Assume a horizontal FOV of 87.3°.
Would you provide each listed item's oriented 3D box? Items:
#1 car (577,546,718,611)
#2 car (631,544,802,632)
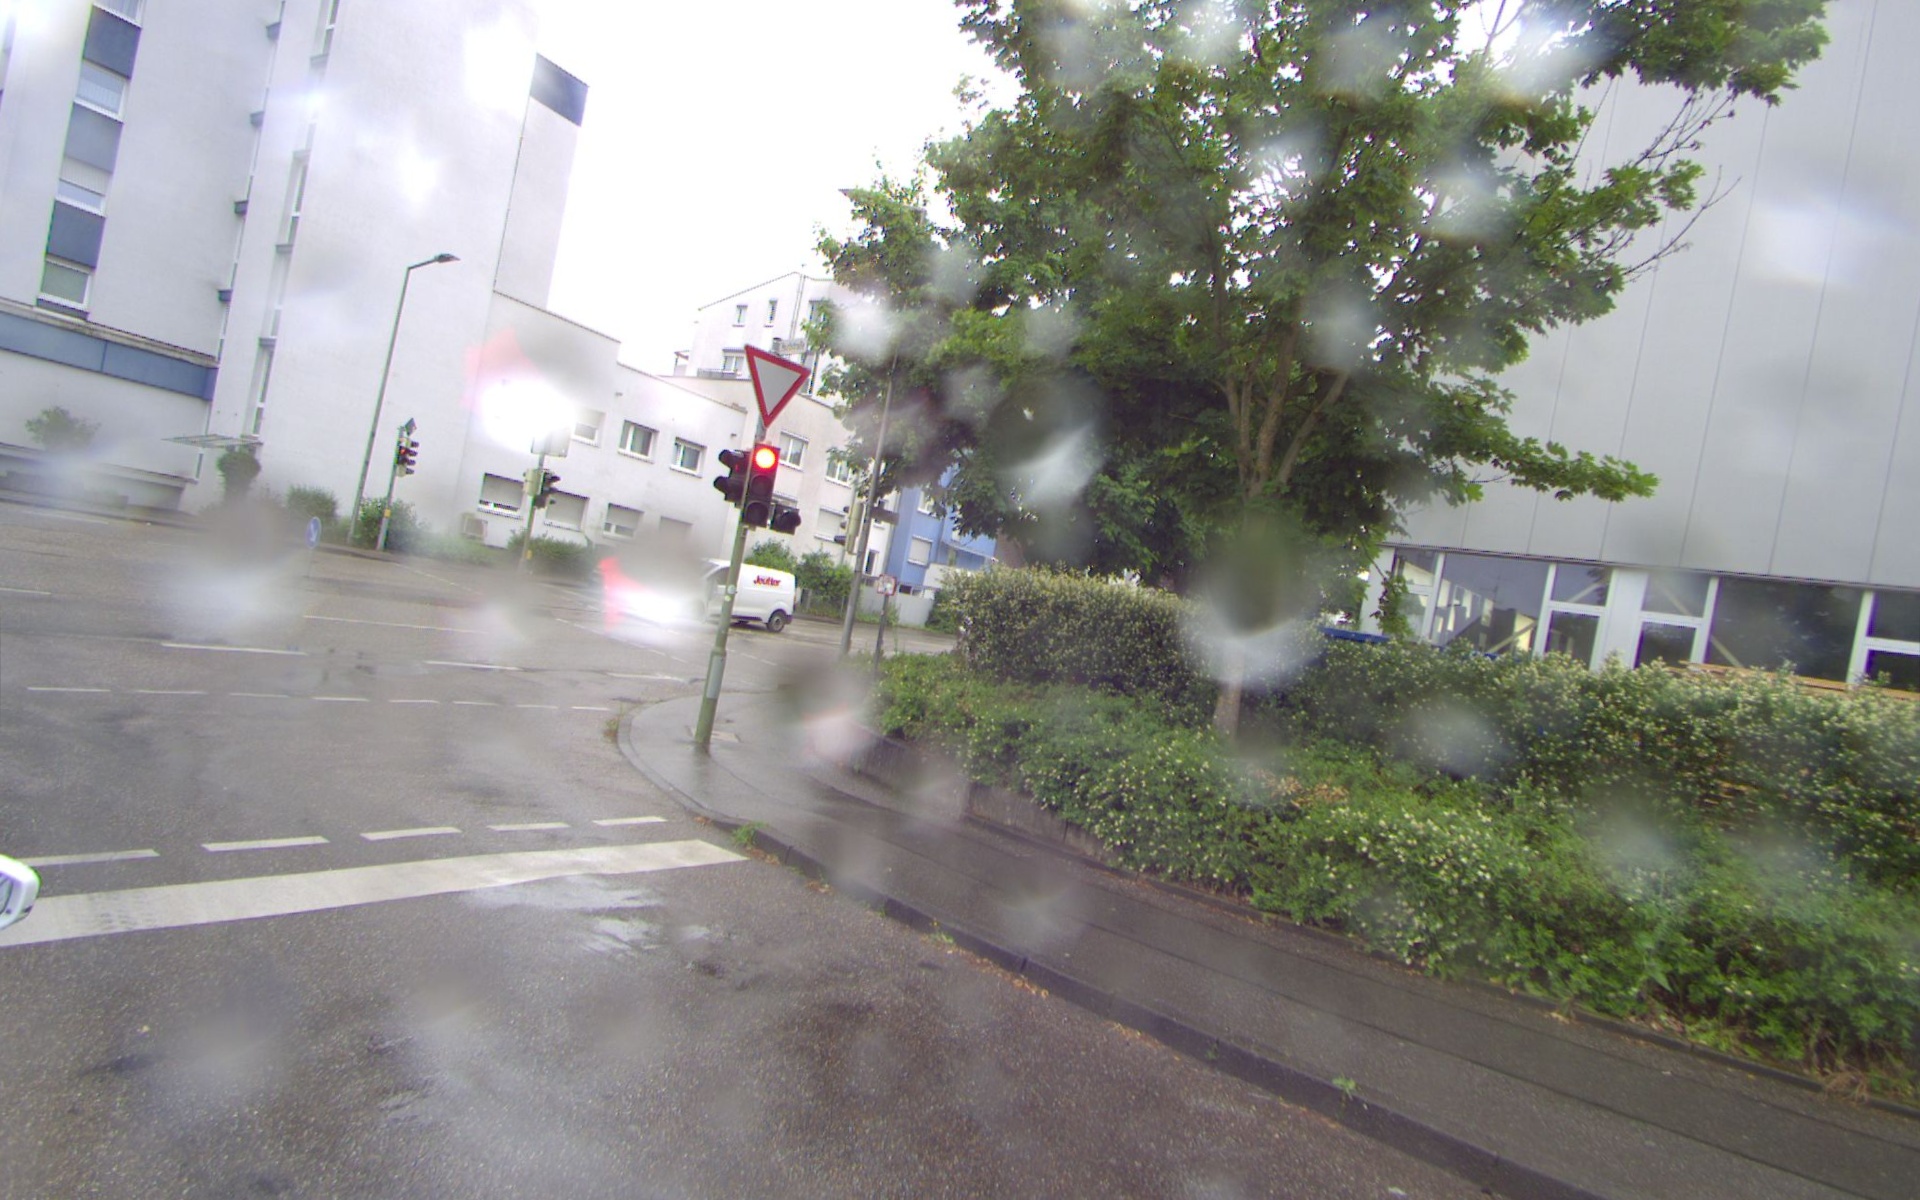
[{"bbox_3d":[-10.156,-0.661,32.895,1.803,1.485,3.989,9,0,36],"label":"car"},{"bbox_3d":[-7.358,-0.300,30.813,1.800,1.938,4.816,7,-2,39],"label":"car"}]
